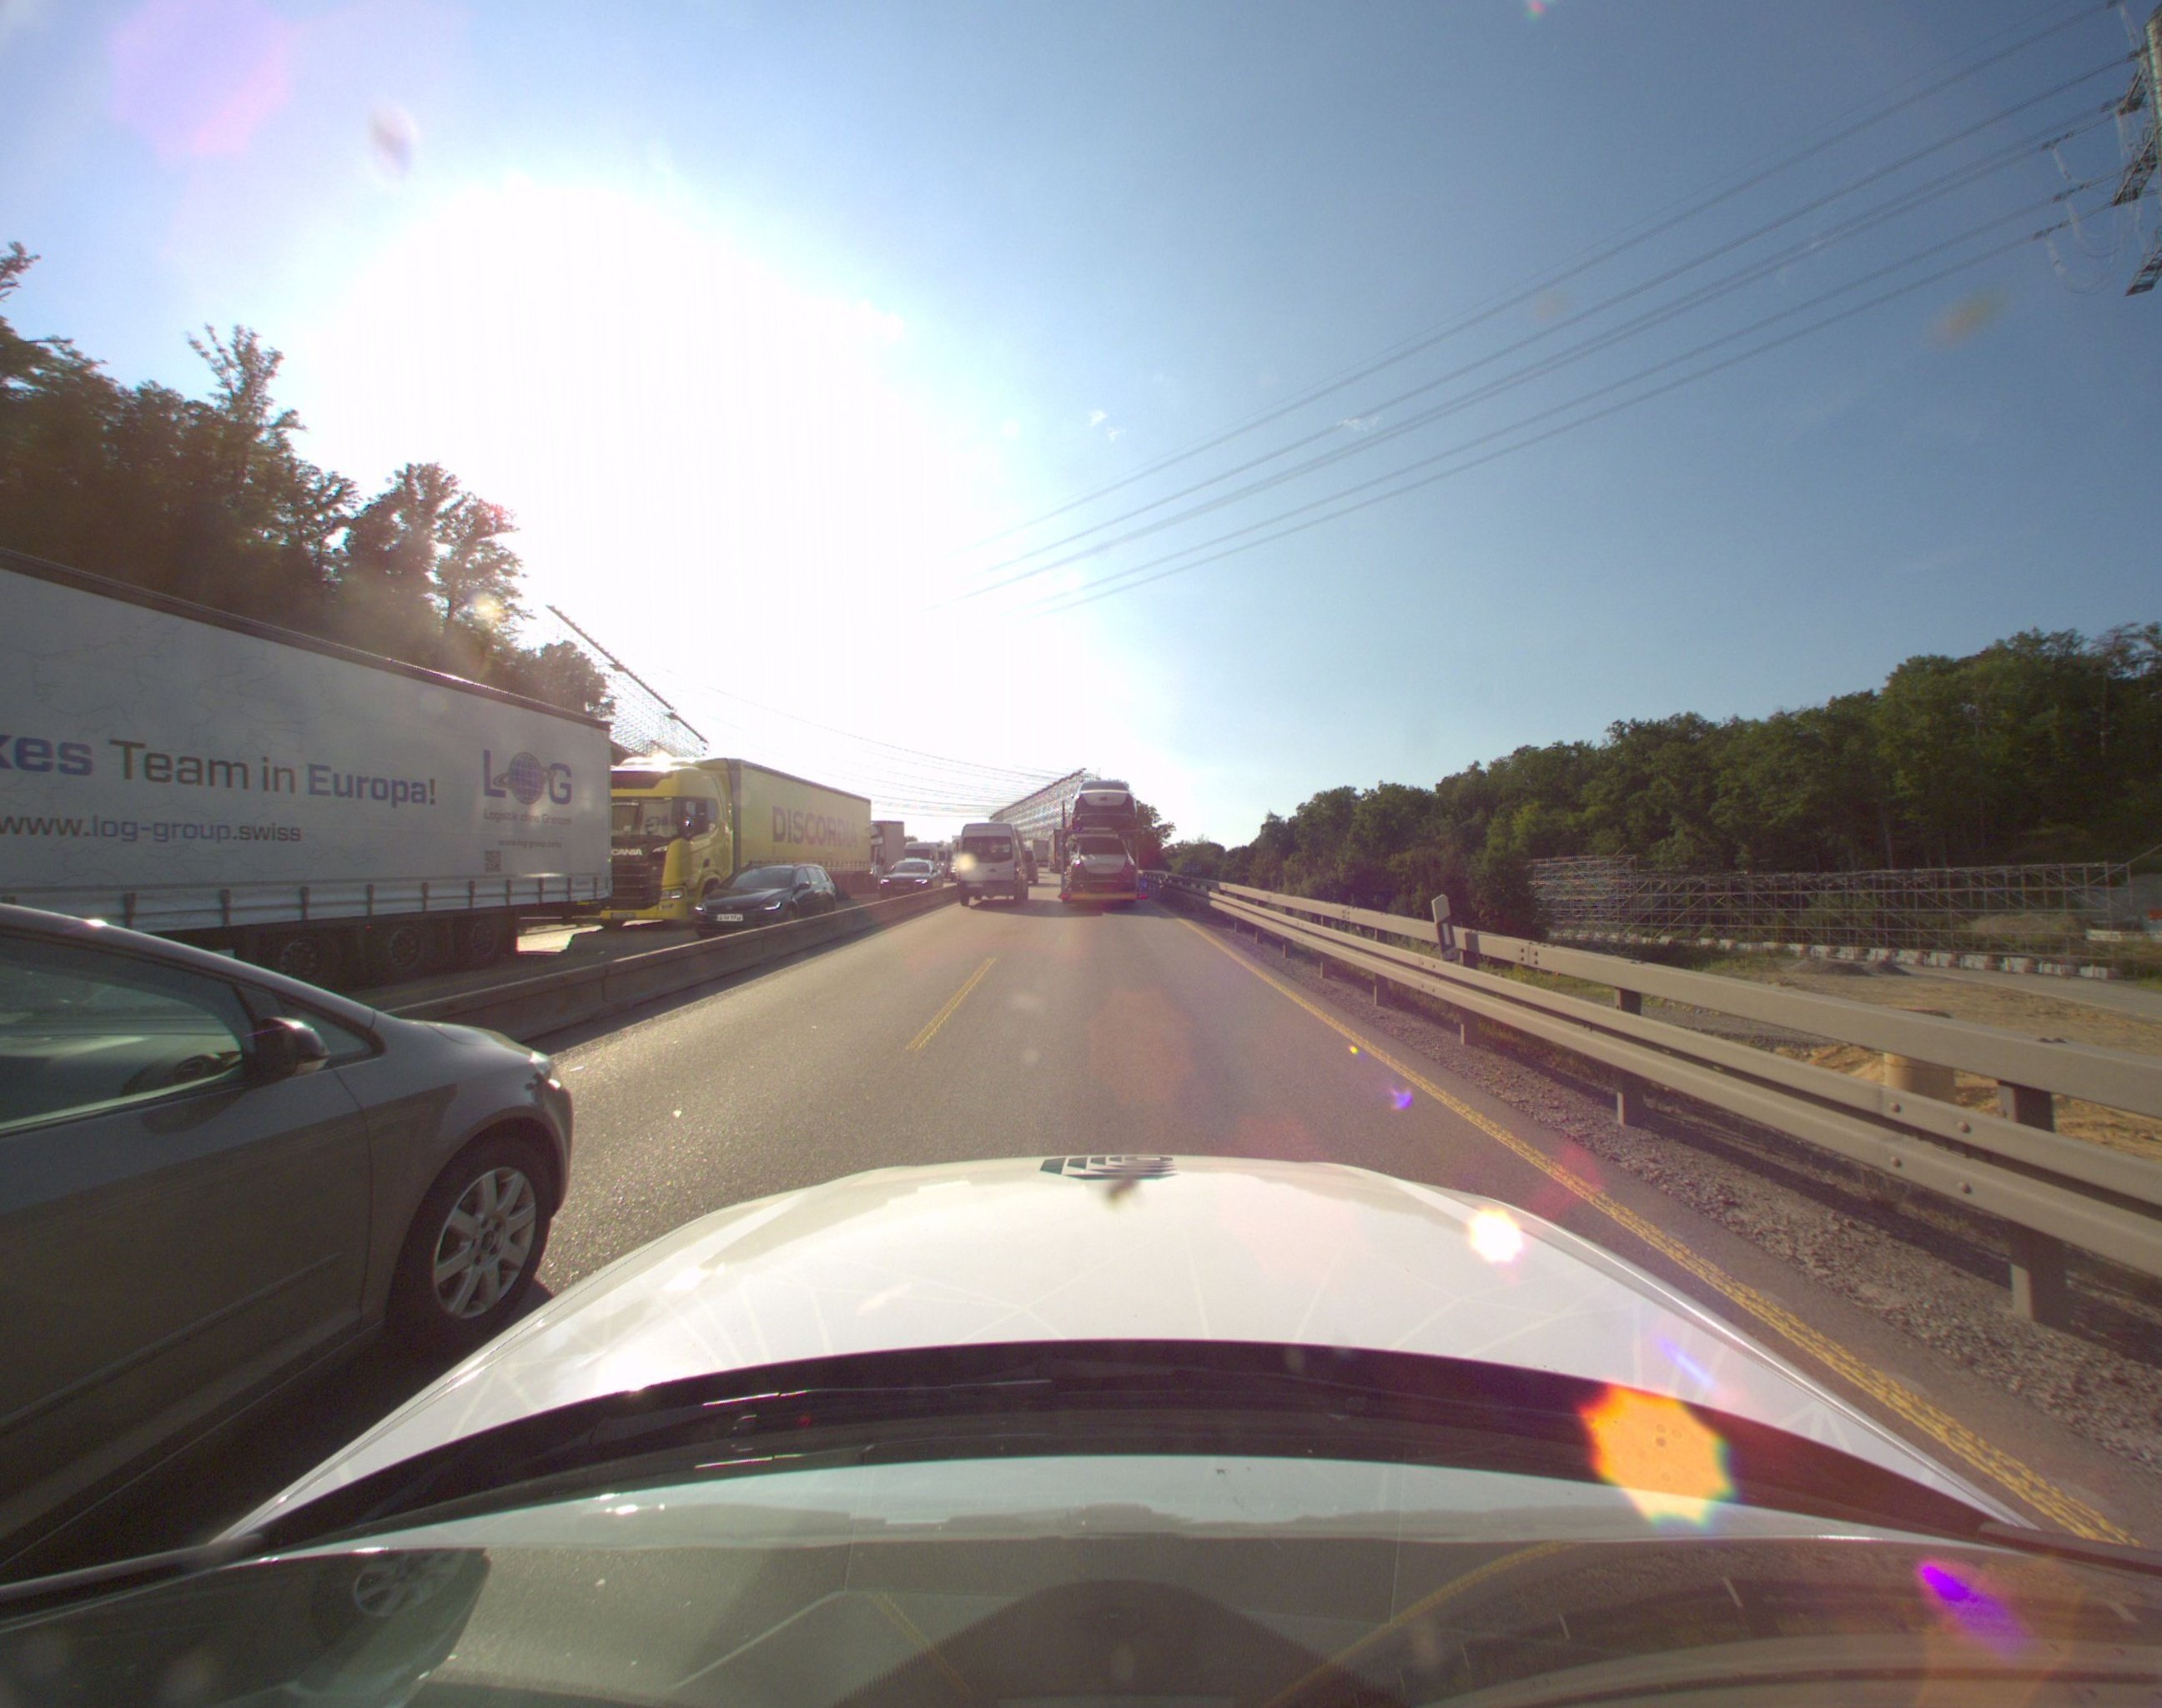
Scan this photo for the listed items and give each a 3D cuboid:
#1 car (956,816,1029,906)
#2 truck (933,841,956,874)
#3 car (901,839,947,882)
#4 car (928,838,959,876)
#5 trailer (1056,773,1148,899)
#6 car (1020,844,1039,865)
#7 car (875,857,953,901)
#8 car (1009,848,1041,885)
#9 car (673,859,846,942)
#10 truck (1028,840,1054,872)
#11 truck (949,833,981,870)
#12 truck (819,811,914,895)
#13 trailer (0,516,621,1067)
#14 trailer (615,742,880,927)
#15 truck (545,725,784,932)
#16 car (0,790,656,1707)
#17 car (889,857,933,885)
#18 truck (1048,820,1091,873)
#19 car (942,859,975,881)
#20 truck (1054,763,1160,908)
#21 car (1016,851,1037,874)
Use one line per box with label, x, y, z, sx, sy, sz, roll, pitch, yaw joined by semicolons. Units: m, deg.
car;-2.816;0.260;26.778;1.974;2.685;4.144;-1;-2;-1
truck;-20.987;0.533;125.210;3.228;4.677;11.654;-1;0;-10
car;-10.621;0.513;55.606;2.122;2.750;5.501;-1;-2;-1
car;-10.547;0.238;62.706;1.664;2.765;4.956;-1;0;-1
trailer;0.620;-0.381;33.929;2.866;3.994;15.272;-1;-2;0
car;-5.198;0.058;82.738;1.664;1.985;3.815;-1;-2;-2
car;-6.448;0.976;32.007;1.986;1.531;4.726;-1;-2;1
car;-3.198;0.725;46.828;1.664;1.985;3.815;-1;-2;-2
car;-6.454;0.902;16.963;1.748;1.449;4.533;-1;-2;1
truck;-6.305;0.318;126.736;3.642;4.677;11.674;-1;0;-5
truck;-13.366;-0.251;94.451;2.634;3.995;9.023;-1;0;-1
truck;-9.975;0.051;38.684;2.351;3.531;7.696;-1;-2;0
trailer;-9.522;-0.411;8.366;2.444;4.266;12.147;-1;-2;1
trailer;-9.840;-0.282;26.873;2.885;4.394;14.373;-1;-2;0
truck;-9.777;-0.469;19.931;2.885;4.272;5.768;-1;-2;-1
car;-2.687;0.704;1.394;1.695;1.587;4.146;-1;-2;0
car;-10.079;1.021;48.573;1.804;1.531;4.044;-1;-2;-2
truck;-1.232;-0.656;77.960;3.223;4.677;11.674;-1;0;-5
car;-8.022;1.062;53.773;1.664;1.368;3.815;-1;-2;-2
truck;0.696;-0.444;25.654;2.861;3.980;5.769;-1;-2;-1
car;-4.967;0.813;74.201;1.664;1.985;3.815;-1;-2;-2
